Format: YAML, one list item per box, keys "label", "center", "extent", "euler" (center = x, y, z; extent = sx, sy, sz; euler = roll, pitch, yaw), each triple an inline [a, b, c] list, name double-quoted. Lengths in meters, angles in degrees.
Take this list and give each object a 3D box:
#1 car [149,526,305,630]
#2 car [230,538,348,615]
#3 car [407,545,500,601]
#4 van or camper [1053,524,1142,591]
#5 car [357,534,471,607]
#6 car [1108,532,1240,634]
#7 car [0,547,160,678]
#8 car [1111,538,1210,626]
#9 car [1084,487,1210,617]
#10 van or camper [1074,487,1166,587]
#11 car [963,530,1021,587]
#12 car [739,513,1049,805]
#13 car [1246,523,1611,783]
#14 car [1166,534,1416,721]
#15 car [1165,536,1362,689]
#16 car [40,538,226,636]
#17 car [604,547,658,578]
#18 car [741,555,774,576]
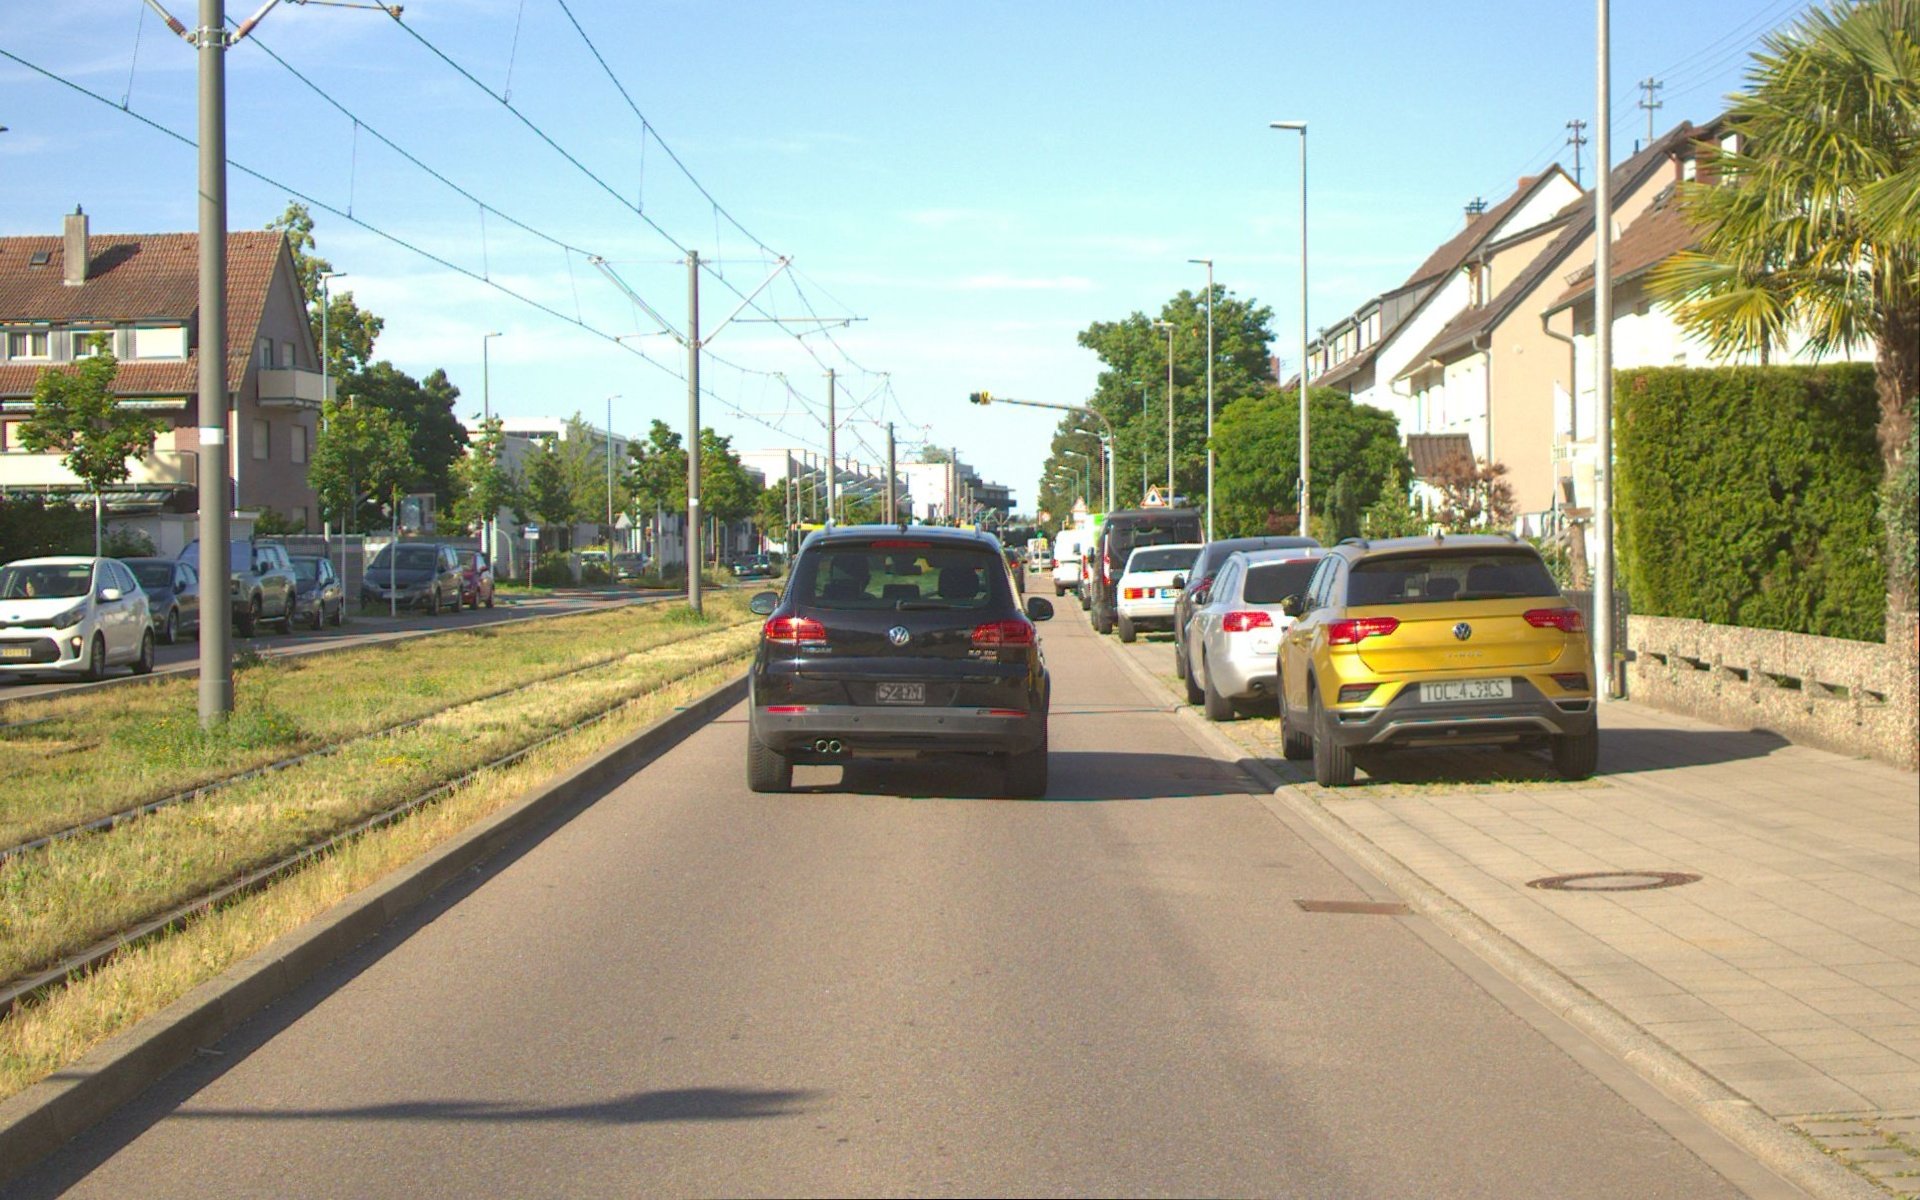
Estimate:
- label: "car"
  center: [-13.691, -0.432, 64.439]
  extent: [1.745, 1.817, 4.841]
  euler: [2, 1, 1]
- label: "car"
  center: [-13.687, -0.495, 70.309]
  extent: [1.676, 1.485, 4.050]
  euler: [2, 1, -1]
- label: "car"
  center: [-13.121, -0.707, 89.251]
  extent: [1.695, 1.400, 4.078]
  euler: [-1, 1, 2]
- label: "van or camper"
  center: [4.163, -1.290, 103.282]
  extent: [2.028, 1.950, 5.293]
  euler: [0, 1, 9]
- label: "car"
  center: [-13.184, -0.734, 83.283]
  extent: [1.819, 1.678, 4.846]
  euler: [2, 1, 2]
- label: "car"
  center: [3.268, -0.300, 53.365]
  extent: [1.853, 1.439, 5.613]
  euler: [-2, 1, 2]
- label: "car"
  center: [-10.718, 0.121, 40.678]
  extent: [1.688, 1.470, 3.680]
  euler: [0, 1, -1]
- label: "car"
  center: [3.915, -0.368, 67.762]
  extent: [1.725, 1.640, 4.318]
  euler: [-1, 1, 1]
- label: "car"
  center: [3.220, -0.837, 60.070]
  extent: [1.960, 2.137, 5.335]
  euler: [-1, 1, 1]
- label: "van or camper"
  center: [3.791, -1.487, 82.566]
  extent: [1.993, 2.263, 6.304]
  euler: [-2, 0, 1]
- label: "car"
  center: [1.044, -1.366, 113.326]
  extent: [1.627, 1.822, 4.131]
  euler: [-1, 1, -3]
- label: "car"
  center: [-0.411, 0.326, 22.091]
  extent: [1.775, 1.664, 4.000]
  euler: [1, 1, -1]
- label: "car"
  center: [3.067, 0.295, 23.449]
  extent: [1.805, 1.553, 4.926]
  euler: [-1, 1, 0]
- label: "car"
  center: [2.867, 0.184, 30.628]
  extent: [1.748, 1.442, 4.699]
  euler: [-1, 2, 0]
- label: "car"
  center: [3.140, 0.077, 36.338]
  extent: [1.777, 1.493, 4.728]
  euler: [-1, 1, 2]
- label: "car"
  center: [-13.936, -0.233, 58.200]
  extent: [1.960, 1.535, 4.557]
  euler: [1, 1, 1]
- label: "car"
  center: [-16.185, -1.850, 169.321]
  extent: [1.811, 1.456, 4.316]
  euler: [1, 1, 6]
- label: "car"
  center: [-13.675, -2.336, 232.521]
  extent: [1.688, 1.384, 4.387]
  euler: [-2, 1, 3]
